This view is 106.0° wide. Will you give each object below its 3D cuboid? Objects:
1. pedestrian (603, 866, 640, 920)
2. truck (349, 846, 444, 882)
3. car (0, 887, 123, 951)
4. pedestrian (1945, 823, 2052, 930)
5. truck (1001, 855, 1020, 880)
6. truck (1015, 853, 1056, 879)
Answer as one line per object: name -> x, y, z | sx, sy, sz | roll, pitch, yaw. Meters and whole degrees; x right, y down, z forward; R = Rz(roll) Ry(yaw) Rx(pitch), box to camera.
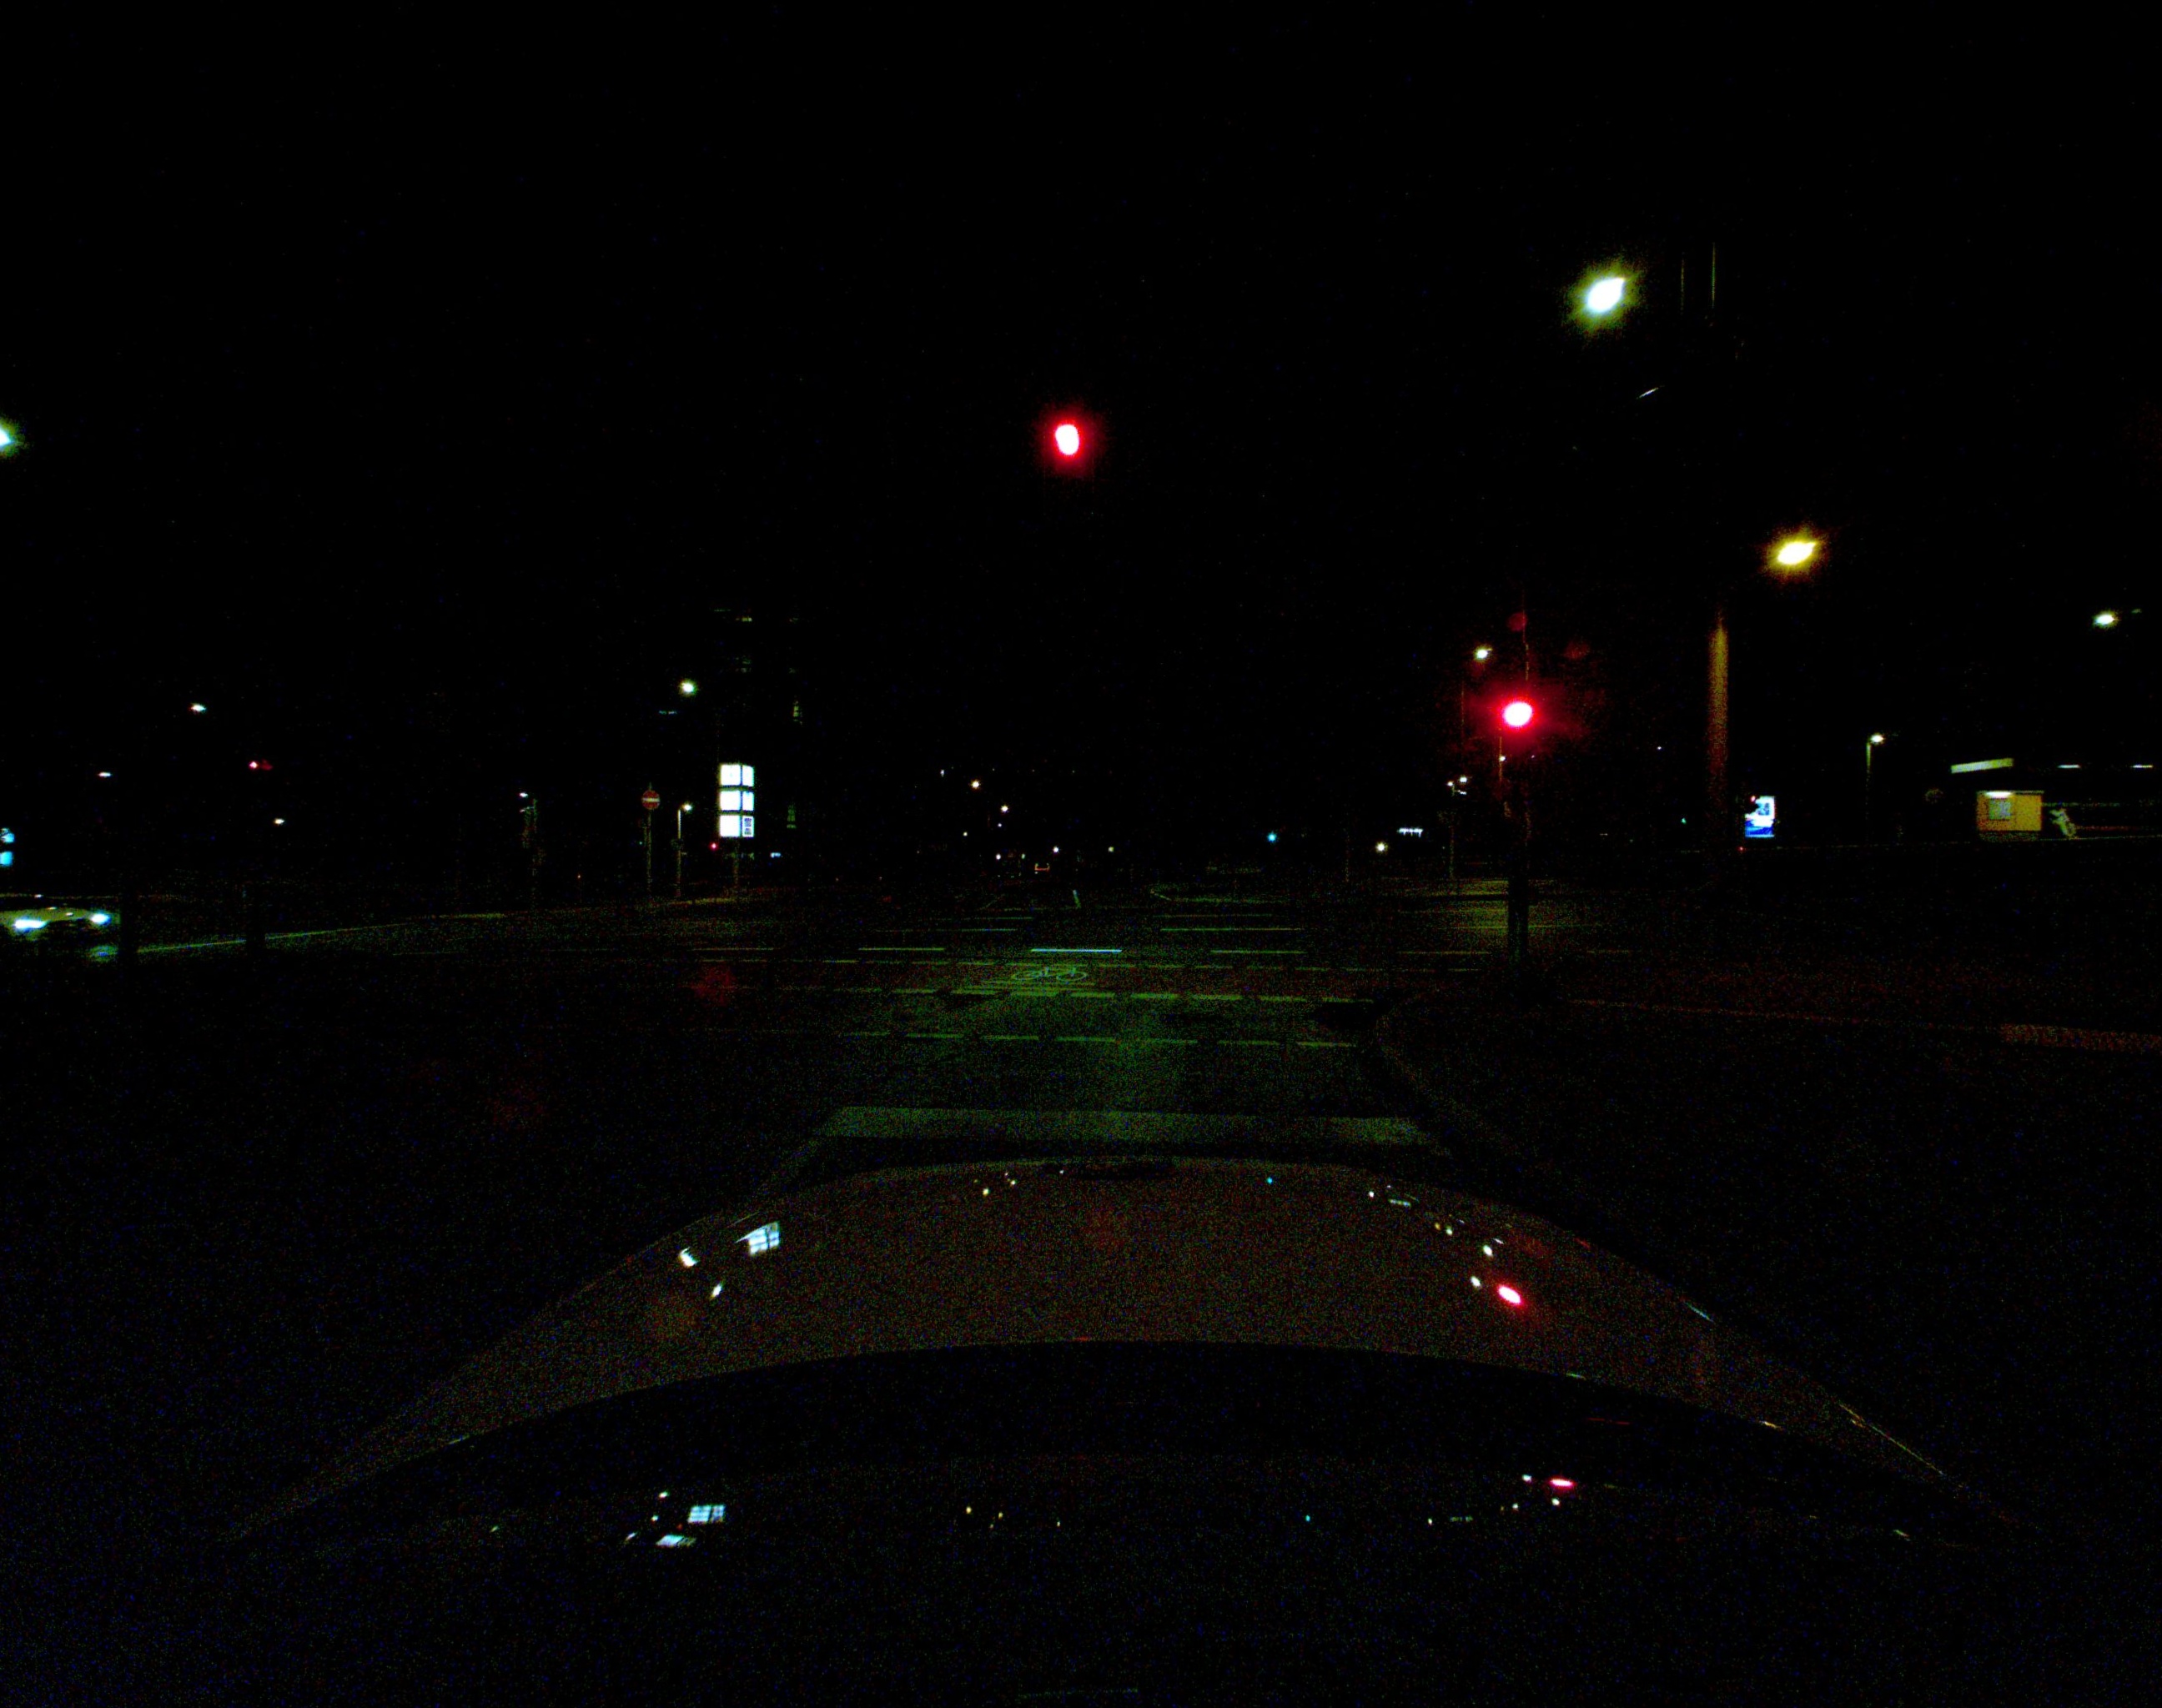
pedestrian -> -14.126, 1.180, 25.060 | 0.667, 1.634, 0.862 | 0, -1, -3
truck -> -59.811, 0.879, 71.266 | 5.873, 3.088, 2.915 | 0, -1, 3
car -> -28.557, 1.740, 21.760 | 4.163, 1.502, 1.823 | -2, 0, 8
pedestrian -> 15.754, 0.379, 14.004 | 0.752, 1.745, 0.834 | -4, -2, 1
truck -> -10.395, 1.960, 119.733 | 2.580, 3.707, 5.723 | 0, -1, -7
truck -> -8.562, 2.228, 151.661 | 4.835, 4.547, 12.591 | 0, -1, -17
